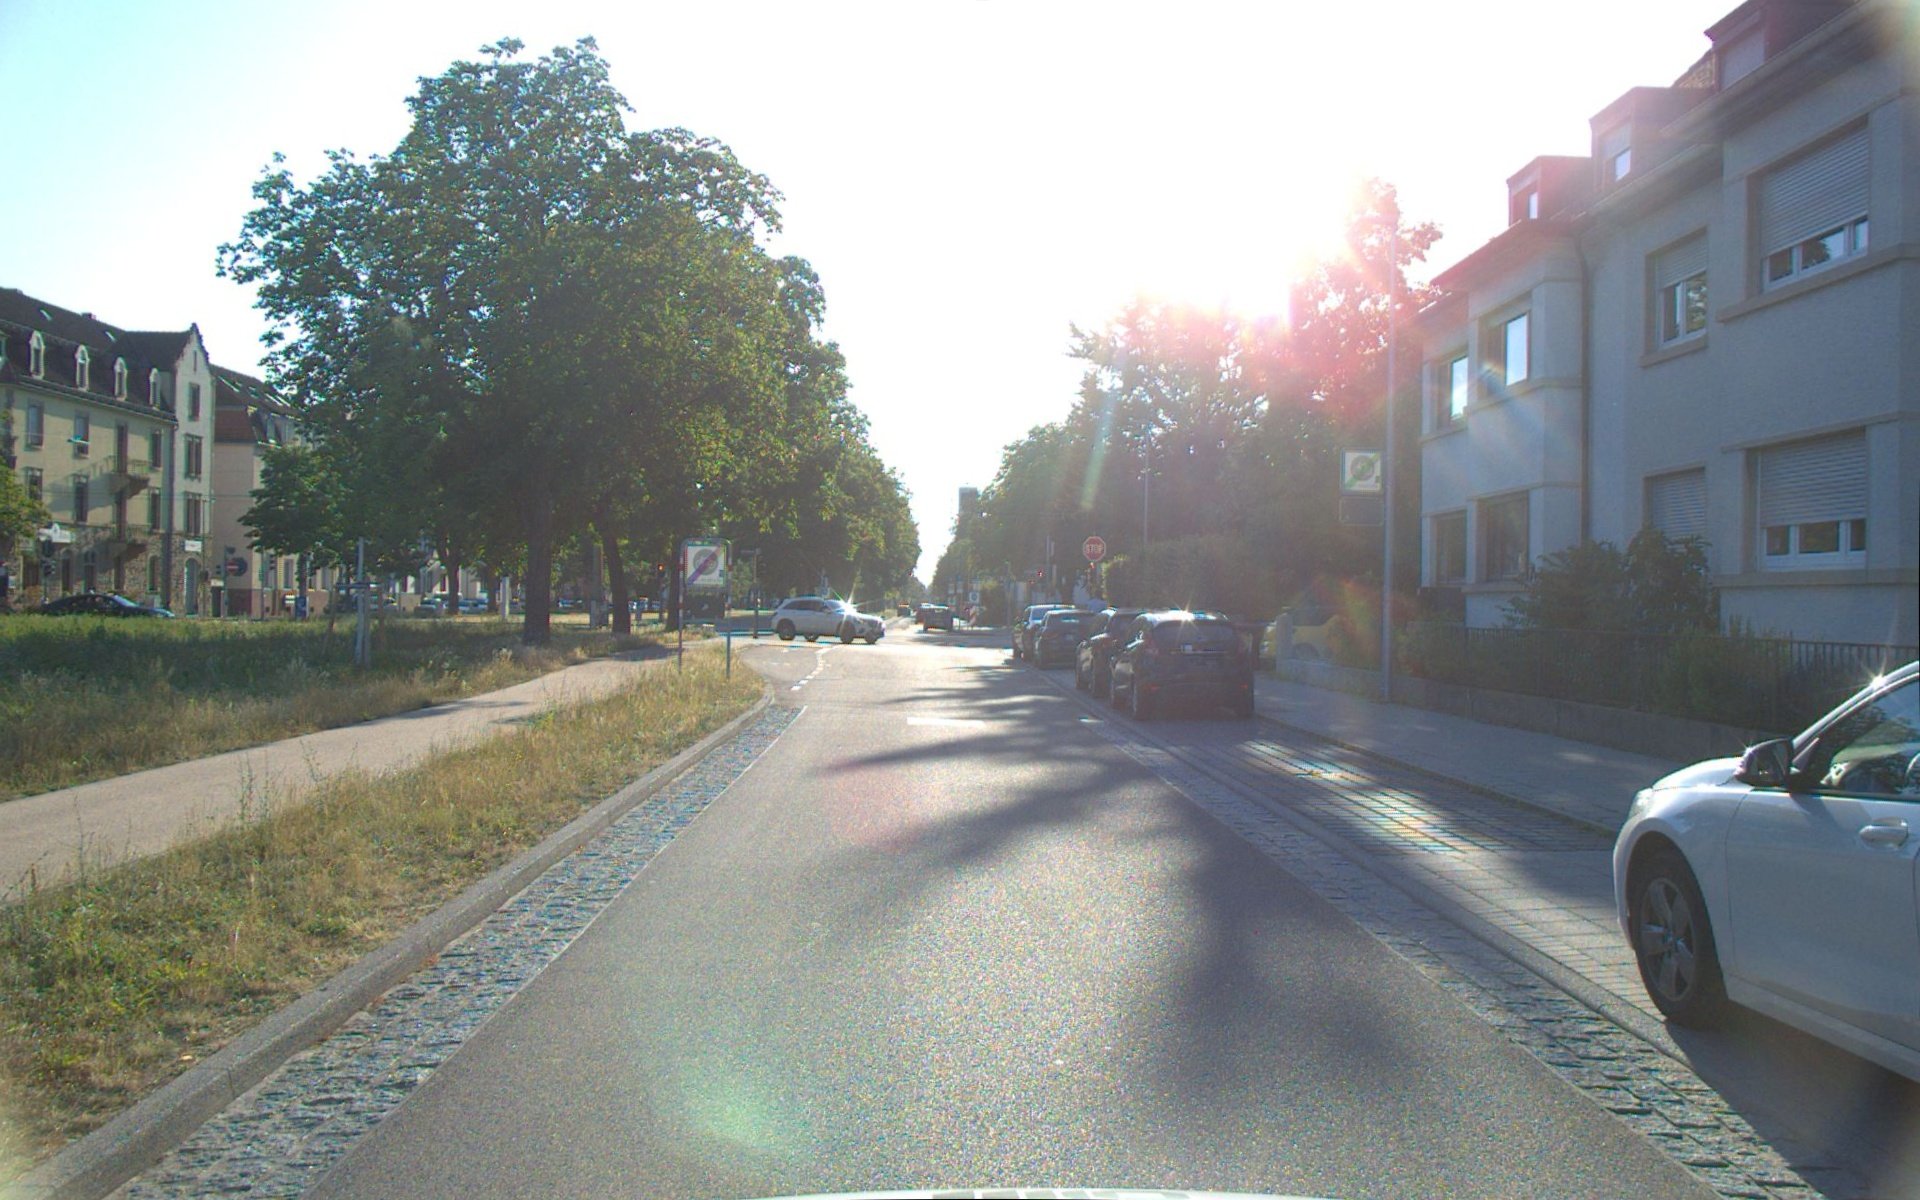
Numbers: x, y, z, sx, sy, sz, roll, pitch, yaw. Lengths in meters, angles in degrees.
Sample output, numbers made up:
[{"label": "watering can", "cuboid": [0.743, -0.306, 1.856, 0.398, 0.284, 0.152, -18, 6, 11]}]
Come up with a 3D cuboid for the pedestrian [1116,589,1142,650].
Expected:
[{"label": "pedestrian", "cuboid": [4.891, 0.550, 47.819, 0.655, 1.738, 0.622, 1, -1, -1]}]

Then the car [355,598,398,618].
[{"label": "car", "cuboid": [-44.401, 0.628, 125.924, 1.701, 1.452, 3.794, 1, 0, 5]}]

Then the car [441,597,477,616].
[{"label": "car", "cuboid": [-39.206, 0.515, 129.493, 1.702, 1.452, 3.791, 1, 0, -1]}]

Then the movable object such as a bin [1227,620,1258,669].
[{"label": "movable object such as a bin", "cuboid": [6.371, 1.000, 37.354, 0.498, 1.061, 0.658, 1, 0, -7]}]

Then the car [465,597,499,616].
[{"label": "car", "cuboid": [-39.035, 0.517, 135.127, 1.702, 1.452, 3.792, 1, 1, -1]}]

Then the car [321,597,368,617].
[{"label": "car", "cuboid": [-44.467, 0.498, 119.578, 1.701, 1.422, 3.794, 1, 0, 5]}]

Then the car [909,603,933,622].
[{"label": "car", "cuboid": [-3.114, 0.959, 131.501, 1.808, 1.418, 3.828, 2, 0, -1]}]

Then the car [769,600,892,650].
[{"label": "car", "cuboid": [-4.949, 0.953, 63.133, 4.327, 1.706, 1.894, 2, 0, 29]}]

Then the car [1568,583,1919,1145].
[{"label": "car", "cuboid": [3.483, 0.711, 4.794, 1.747, 1.533, 4.232, -1, 0, -2]}]

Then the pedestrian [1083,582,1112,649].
[{"label": "pedestrian", "cuboid": [3.965, 0.443, 47.777, 0.657, 1.898, 0.881, 1, 0, -4]}]

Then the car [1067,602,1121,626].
[{"label": "car", "cuboid": [9.637, 0.991, 118.875, 3.703, 1.552, 1.743, 1, 1, -1]}]

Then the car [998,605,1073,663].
[{"label": "car", "cuboid": [2.100, 0.937, 47.383, 1.821, 1.569, 4.872, 1, 0, -1]}]

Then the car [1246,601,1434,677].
[{"label": "car", "cuboid": [8.060, 0.816, 35.285, 3.560, 1.522, 1.780, -1, 0, -2]}]

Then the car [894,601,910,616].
[{"label": "car", "cuboid": [-7.988, 1.132, 227.602, 2.090, 2.049, 3.901, 2, 0, -1]}]

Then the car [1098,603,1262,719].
[{"label": "car", "cuboid": [3.097, 0.820, 23.967, 1.684, 1.497, 3.982, -2, 0, -2]}]

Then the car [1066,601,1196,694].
[{"label": "car", "cuboid": [2.943, 0.784, 29.300, 1.711, 1.500, 4.253, 1, 0, -2]}]

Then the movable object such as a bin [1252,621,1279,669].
[{"label": "movable object such as a bin", "cuboid": [6.911, 1.009, 37.417, 0.498, 1.061, 0.416, 1, 0, -7]}]

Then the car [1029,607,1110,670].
[{"label": "car", "cuboid": [2.638, 0.912, 40.583, 1.608, 1.452, 3.935, -1, 0, -2]}]

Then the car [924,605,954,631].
[{"label": "car", "cuboid": [-1.234, 1.023, 97.390, 1.607, 1.476, 3.307, 1, 0, 1]}]

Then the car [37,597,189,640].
[{"label": "car", "cuboid": [-31.563, 0.695, 61.756, 4.677, 1.459, 1.810, 2, -1, -10]}]
